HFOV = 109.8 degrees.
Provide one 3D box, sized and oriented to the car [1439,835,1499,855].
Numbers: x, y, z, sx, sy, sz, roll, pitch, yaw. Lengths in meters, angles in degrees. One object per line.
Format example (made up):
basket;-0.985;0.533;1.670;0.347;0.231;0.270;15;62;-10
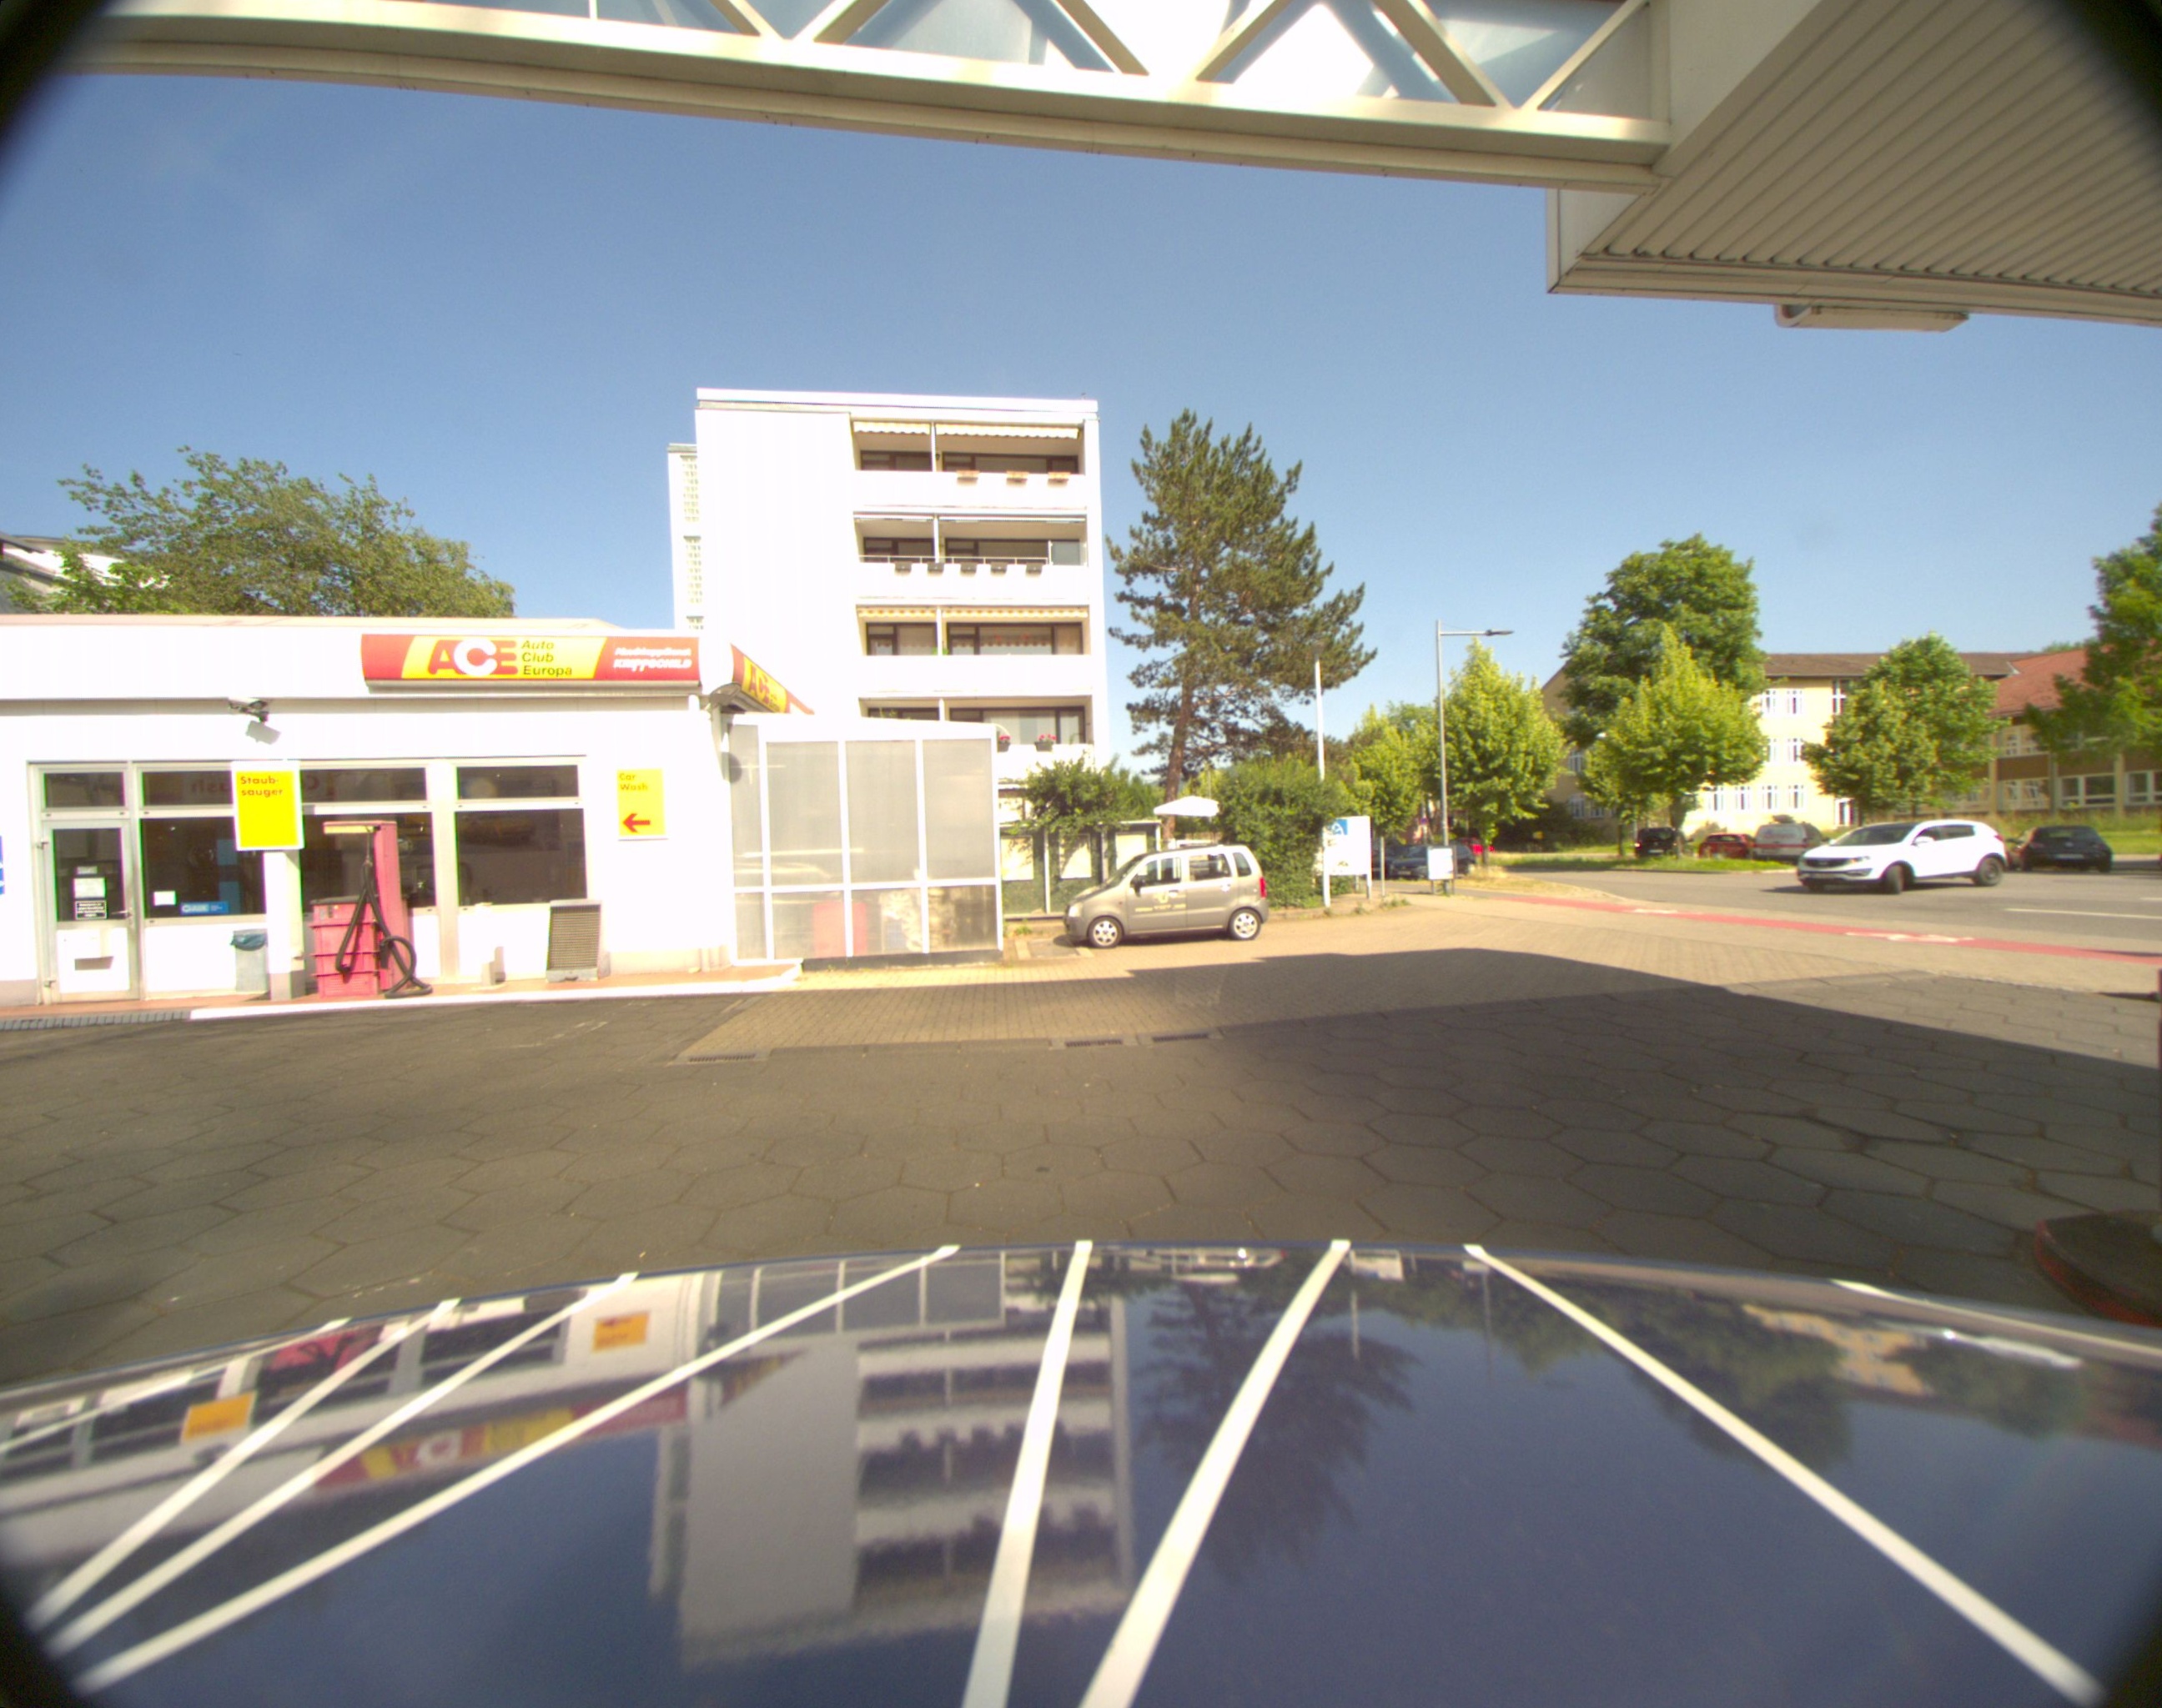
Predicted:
car;27.558;-0.627;53.958;3.731;1.383;1.877;0;1;-25

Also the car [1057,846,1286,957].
car;1.485;0.760;13.341;3.661;1.608;1.691;-3;1;-5

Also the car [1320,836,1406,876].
car;13.120;0.052;35.240;4.412;1.710;1.700;-2;1;-39

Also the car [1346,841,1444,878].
car;13.550;0.208;32.735;4.233;1.473;1.876;-1;1;-33

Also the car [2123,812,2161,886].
car;27.290;-0.138;16.923;2.001;1.759;4.385;-2;1;-13

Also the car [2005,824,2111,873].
car;31.142;-0.190;24.328;4.234;1.451;1.737;-1;1;-43

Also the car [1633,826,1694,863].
car;28.738;-0.495;37.446;1.876;1.712;4.234;1;2;44

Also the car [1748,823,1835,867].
car;30.147;-0.399;32.218;4.233;1.713;1.876;-1;2;-36

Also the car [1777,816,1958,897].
car;19.851;0.018;19.159;4.396;1.759;1.996;-3;1;-28

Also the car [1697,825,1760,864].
car;29.691;-0.446;34.802;1.876;1.712;4.234;1;2;44

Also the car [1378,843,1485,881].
car;13.844;0.278;29.925;4.233;1.409;1.876;-1;1;-33
